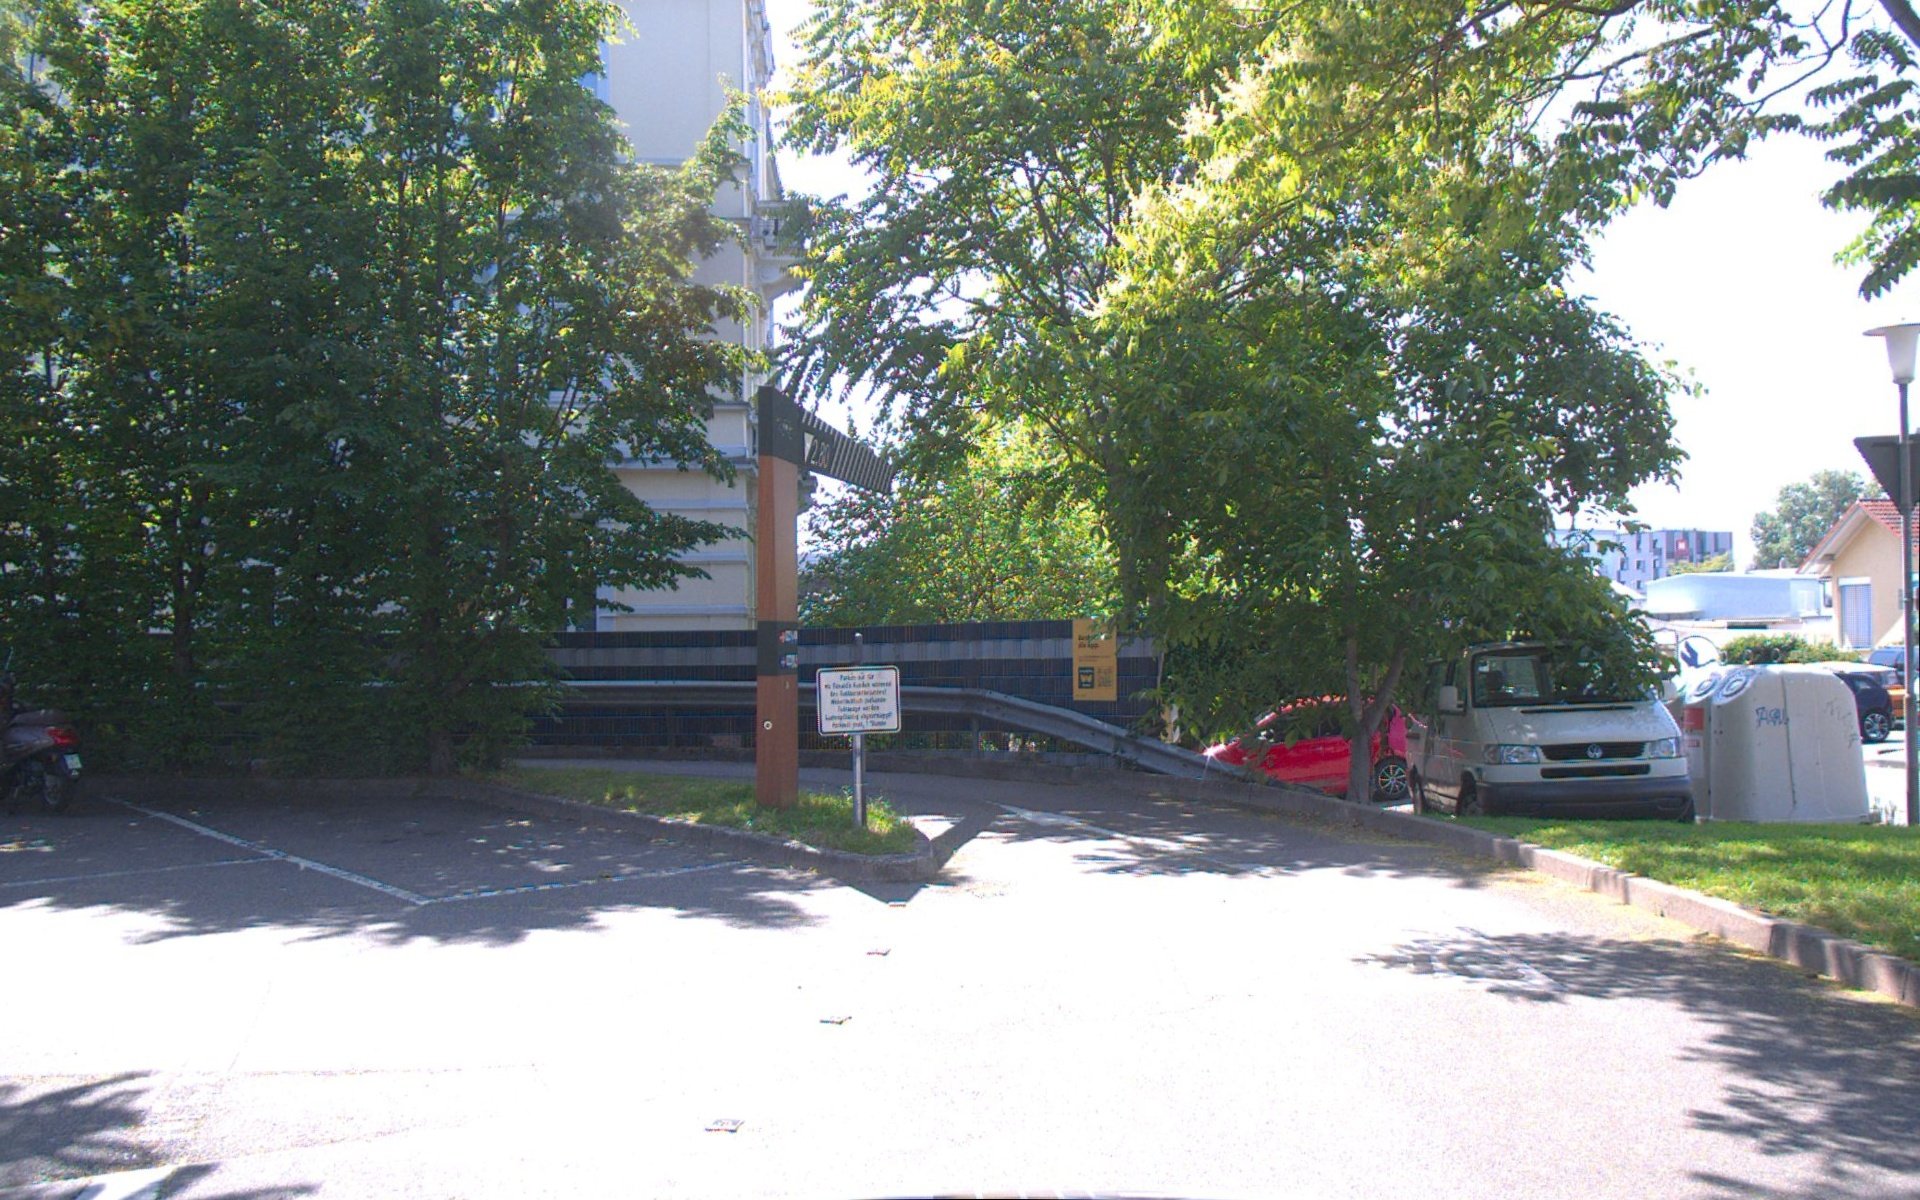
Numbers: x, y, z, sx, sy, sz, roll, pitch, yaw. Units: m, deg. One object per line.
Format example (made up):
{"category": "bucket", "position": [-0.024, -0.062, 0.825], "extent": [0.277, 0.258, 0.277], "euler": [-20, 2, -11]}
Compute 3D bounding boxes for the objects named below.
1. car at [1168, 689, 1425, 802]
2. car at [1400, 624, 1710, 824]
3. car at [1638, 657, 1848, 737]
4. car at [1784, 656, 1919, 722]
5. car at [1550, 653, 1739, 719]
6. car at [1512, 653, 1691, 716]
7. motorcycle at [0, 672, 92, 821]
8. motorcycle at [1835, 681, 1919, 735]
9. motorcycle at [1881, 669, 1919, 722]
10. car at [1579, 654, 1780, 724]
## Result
{"category": "car", "position": [4.756, 2.058, 23.646], "extent": [3.334, 1.403, 1.486], "euler": [-1, 0, -1]}
{"category": "car", "position": [5.566, 1.052, 16.156], "extent": [1.910, 1.611, 5.035], "euler": [0, -1, 9]}
{"category": "car", "position": [18.028, 2.224, 38.203], "extent": [3.907, 1.736, 1.999], "euler": [1, -2, -3]}
{"category": "car", "position": [23.784, 2.326, 43.743], "extent": [1.953, 1.613, 3.999], "euler": [1, -2, 0]}
{"category": "car", "position": [19.137, 2.406, 46.336], "extent": [4.554, 1.756, 1.995], "euler": [1, -2, -10]}
{"category": "car", "position": [18.876, 2.467, 48.745], "extent": [4.554, 1.756, 1.995], "euler": [1, -2, -10]}
{"category": "motorcycle", "position": [-8.097, 1.222, 14.177], "extent": [1.574, 1.189, 0.567], "euler": [-2, -1, 38]}
{"category": "motorcycle", "position": [21.008, 2.453, 37.572], "extent": [1.828, 1.179, 0.790], "euler": [0, -2, 10]}
{"category": "motorcycle", "position": [23.701, 2.294, 39.816], "extent": [2.660, 1.248, 0.997], "euler": [1, -2, -10]}
{"category": "car", "position": [18.953, 2.331, 43.654], "extent": [4.554, 1.756, 1.995], "euler": [1, -2, -10]}
